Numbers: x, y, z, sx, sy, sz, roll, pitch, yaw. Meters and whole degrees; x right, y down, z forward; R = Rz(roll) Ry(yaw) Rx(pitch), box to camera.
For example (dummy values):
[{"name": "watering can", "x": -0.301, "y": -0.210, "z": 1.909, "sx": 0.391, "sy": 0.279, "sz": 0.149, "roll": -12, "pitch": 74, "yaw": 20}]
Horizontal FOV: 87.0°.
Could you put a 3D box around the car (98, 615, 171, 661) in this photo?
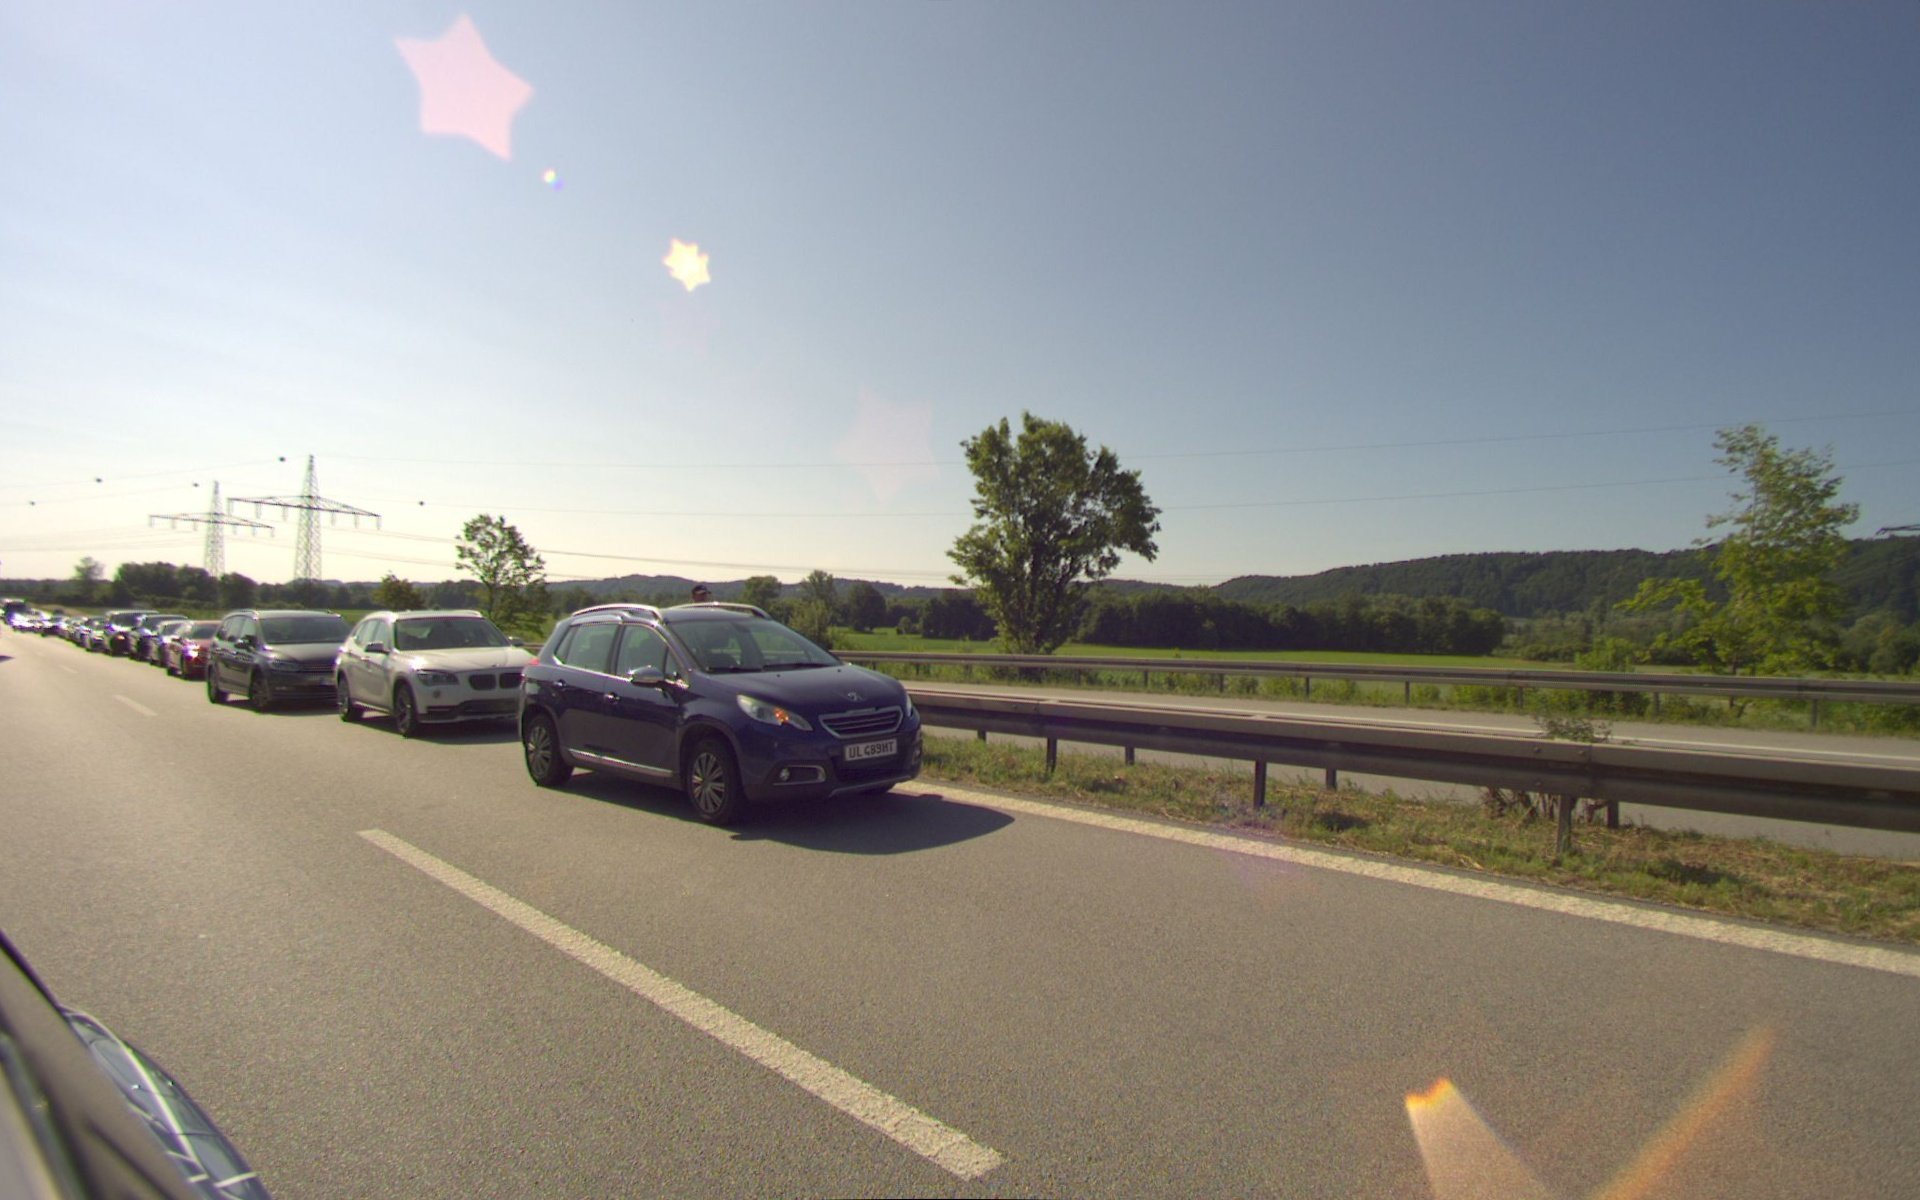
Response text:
[{"name": "car", "x": -34.229, "y": 1.566, "z": 41.938, "sx": 4.201, "sy": 1.801, "sz": 1.875, "roll": -2, "pitch": -3, "yaw": 45}]

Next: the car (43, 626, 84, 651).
[{"name": "car", "x": -55.693, "y": 2.385, "z": 62.858, "sx": 1.794, "sy": 1.470, "sz": 4.121, "roll": -1, "pitch": -1, "yaw": -43}]

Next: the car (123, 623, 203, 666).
[{"name": "car", "x": -29.289, "y": 1.604, "z": 37.152, "sx": 1.867, "sy": 1.466, "sz": 4.003, "roll": 2, "pitch": -2, "yaw": -44}]

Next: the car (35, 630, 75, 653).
[{"name": "car", "x": -60.378, "y": 2.734, "z": 67.489, "sx": 1.794, "sy": 1.470, "sz": 4.120, "roll": 2, "pitch": -3, "yaw": -45}]

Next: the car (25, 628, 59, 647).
[{"name": "car", "x": -73.698, "y": 2.977, "z": 81.228, "sx": 1.794, "sy": 1.470, "sz": 4.120, "roll": -1, "pitch": -1, "yaw": -45}]

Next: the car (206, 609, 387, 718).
[{"name": "car", "x": -11.454, "y": 1.001, "z": 17.361, "sx": 4.119, "sy": 1.628, "sz": 1.794, "roll": -1, "pitch": -1, "yaw": 45}]

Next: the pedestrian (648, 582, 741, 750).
[{"name": "pedestrian", "x": -2.931, "y": 0.713, "z": 11.175, "sx": 0.663, "sy": 1.764, "sz": 0.815, "roll": 2, "pitch": -3, "yaw": -45}]

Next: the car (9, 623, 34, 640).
[{"name": "car", "x": -98.611, "y": 3.282, "z": 106.354, "sx": 1.788, "sy": 1.807, "sz": 3.775, "roll": 2, "pitch": -2, "yaw": -45}]

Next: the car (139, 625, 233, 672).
[{"name": "car", "x": -25.081, "y": 1.518, "z": 32.742, "sx": 4.002, "sy": 1.409, "sz": 1.869, "roll": -1, "pitch": -2, "yaw": 45}]

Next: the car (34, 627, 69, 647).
[{"name": "car", "x": -67.654, "y": 2.747, "z": 75.354, "sx": 1.794, "sy": 1.470, "sz": 4.121, "roll": 2, "pitch": -3, "yaw": -44}]

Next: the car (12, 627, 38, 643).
[{"name": "car", "x": -88.238, "y": 3.274, "z": 95.514, "sx": 1.794, "sy": 1.470, "sz": 4.121, "roll": -1, "pitch": -1, "yaw": -43}]

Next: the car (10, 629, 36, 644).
[{"name": "car", "x": -92.202, "y": 3.564, "z": 99.531, "sx": 1.793, "sy": 1.470, "sz": 4.121, "roll": 2, "pitch": -3, "yaw": -43}]

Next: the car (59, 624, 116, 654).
[{"name": "car", "x": -46.049, "y": 2.024, "z": 53.405, "sx": 4.002, "sy": 1.542, "sz": 1.971, "roll": -2, "pitch": -2, "yaw": 45}]

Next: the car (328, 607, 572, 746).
[{"name": "car", "x": -7.026, "y": 0.928, "z": 13.748, "sx": 1.806, "sy": 1.586, "sz": 4.166, "roll": 1, "pitch": -2, "yaw": -44}]

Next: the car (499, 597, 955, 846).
[{"name": "car", "x": -2.064, "y": 0.791, "z": 8.280, "sx": 3.948, "sy": 1.546, "sz": 1.670, "roll": -1, "pitch": 0, "yaw": 42}]

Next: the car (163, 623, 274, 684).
[{"name": "car", "x": -19.273, "y": 1.339, "z": 26.236, "sx": 1.793, "sy": 1.470, "sz": 4.121, "roll": 2, "pitch": -3, "yaw": -43}]

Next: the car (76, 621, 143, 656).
[{"name": "car", "x": -39.425, "y": 1.763, "z": 46.886, "sx": 4.002, "sy": 1.542, "sz": 1.971, "roll": -2, "pitch": -2, "yaw": 45}]
